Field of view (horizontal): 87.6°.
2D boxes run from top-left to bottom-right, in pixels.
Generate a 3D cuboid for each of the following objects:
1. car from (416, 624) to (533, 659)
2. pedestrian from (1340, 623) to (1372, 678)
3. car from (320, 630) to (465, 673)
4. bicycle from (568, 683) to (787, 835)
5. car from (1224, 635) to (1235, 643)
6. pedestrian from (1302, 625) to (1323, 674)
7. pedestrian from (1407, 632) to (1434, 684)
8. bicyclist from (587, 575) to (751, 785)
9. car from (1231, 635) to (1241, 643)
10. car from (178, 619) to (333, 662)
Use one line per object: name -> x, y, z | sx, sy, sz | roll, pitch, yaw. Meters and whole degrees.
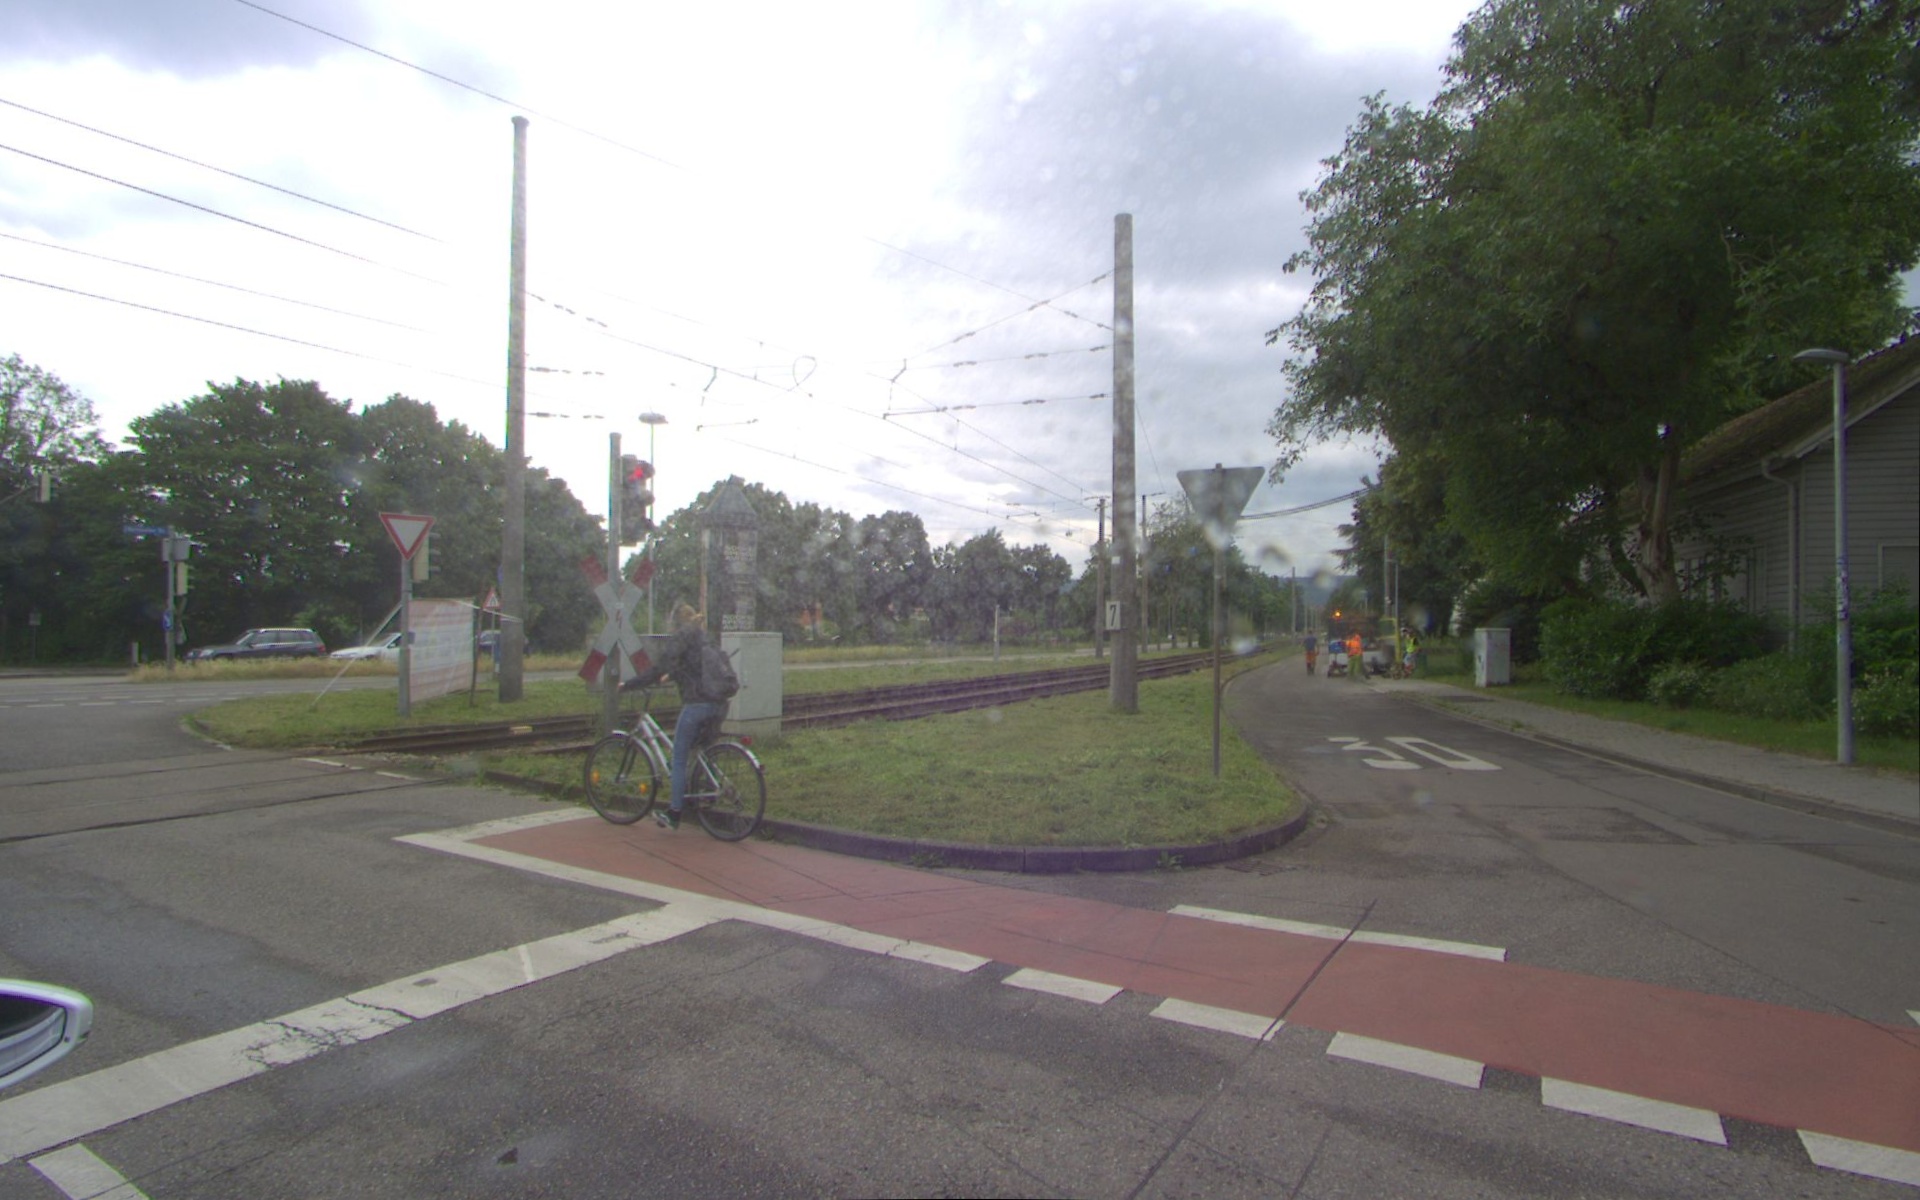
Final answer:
car -> -21.733, 1.848, 44.997 | 1.820, 1.458, 4.456 | 0, -2, 33
pedestrian -> 13.785, 1.752, 34.852 | 0.862, 1.878, 0.676 | 1, -1, 34
car -> -19.652, 1.766, 34.832 | 1.624, 1.374, 4.129 | 0, -2, 33
bicycle -> -2.205, 1.166, 7.666 | 2.001, 0.993, 0.382 | -1, -2, 32
car -> 50.854, 7.415, 188.843 | 1.963, 1.460, 3.997 | -1, -2, 16
pedestrian -> 14.010, 1.956, 39.806 | 0.757, 1.892, 0.604 | 0, -1, 17
pedestrian -> 16.768, 2.094, 36.481 | 0.598, 1.864, 0.712 | 1, -1, -13
bicyclist -> -2.149, 0.585, 7.416 | 0.947, 1.441, 0.621 | -1, -5, 32
car -> 57.544, 8.121, 208.757 | 1.963, 1.460, 3.997 | -1, -2, 16
car -> -26.516, 1.524, 37.841 | 1.820, 1.523, 4.456 | 0, -2, 33
